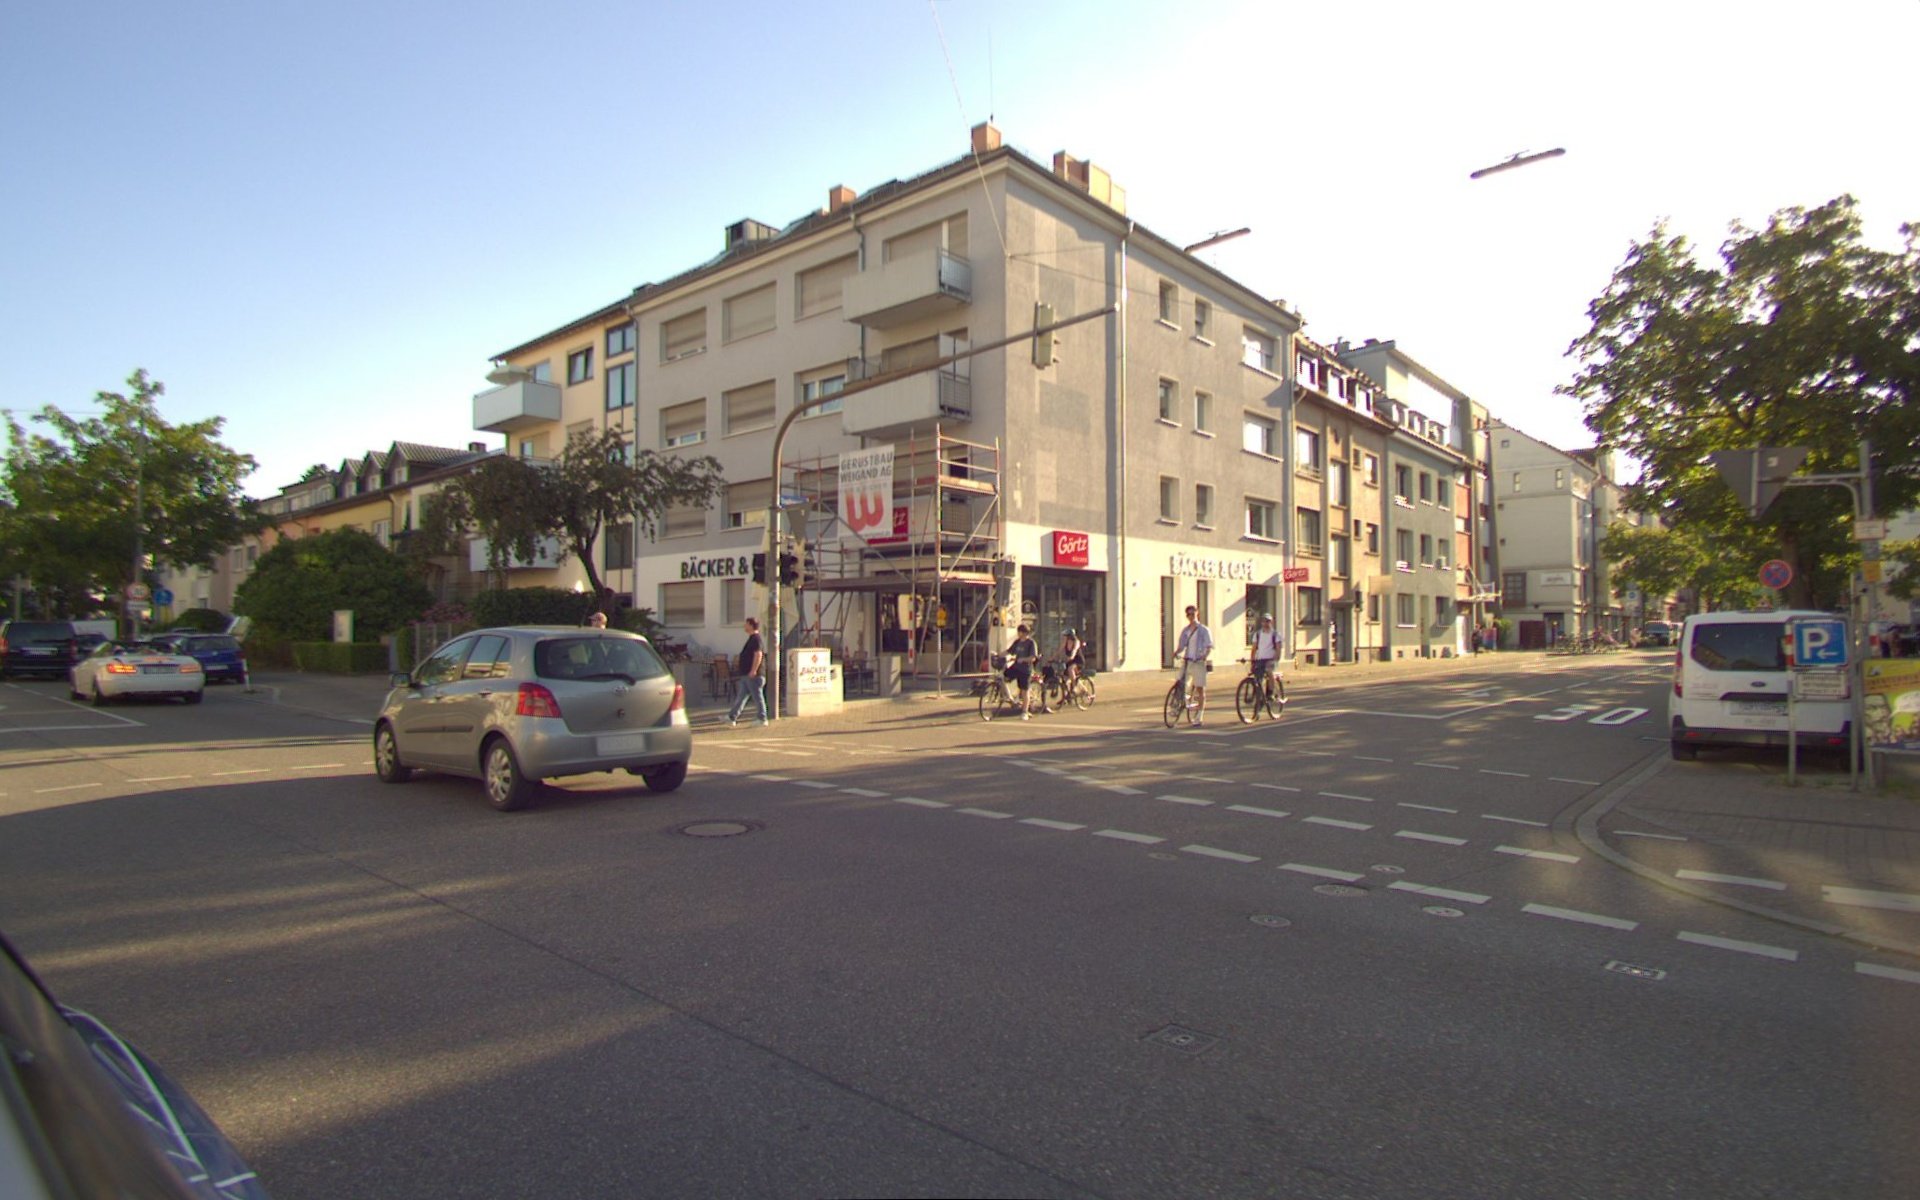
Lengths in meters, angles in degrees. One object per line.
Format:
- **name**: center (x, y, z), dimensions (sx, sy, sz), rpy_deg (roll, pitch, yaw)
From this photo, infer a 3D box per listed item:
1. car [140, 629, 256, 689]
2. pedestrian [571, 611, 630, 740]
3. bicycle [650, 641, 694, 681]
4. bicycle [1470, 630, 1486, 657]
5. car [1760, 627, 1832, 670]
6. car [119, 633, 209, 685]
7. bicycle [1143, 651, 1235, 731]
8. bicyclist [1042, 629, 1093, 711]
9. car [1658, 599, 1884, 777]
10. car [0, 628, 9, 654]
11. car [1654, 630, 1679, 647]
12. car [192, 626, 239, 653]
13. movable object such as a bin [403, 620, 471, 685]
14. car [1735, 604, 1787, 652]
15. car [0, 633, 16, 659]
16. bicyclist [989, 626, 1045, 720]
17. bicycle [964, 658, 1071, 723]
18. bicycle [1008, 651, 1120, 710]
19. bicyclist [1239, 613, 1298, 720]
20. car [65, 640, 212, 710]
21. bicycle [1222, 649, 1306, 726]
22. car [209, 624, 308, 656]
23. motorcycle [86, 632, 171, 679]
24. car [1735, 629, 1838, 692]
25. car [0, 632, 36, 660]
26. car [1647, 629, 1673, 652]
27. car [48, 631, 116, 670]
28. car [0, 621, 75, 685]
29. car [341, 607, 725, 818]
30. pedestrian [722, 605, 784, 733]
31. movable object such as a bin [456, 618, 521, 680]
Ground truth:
- **car**: center (-22.169, 1.665, 29.407), dimensions (3.947, 1.626, 1.788), rpy_deg (-2, -2, 39)
- **pedestrian**: center (-5.849, 1.206, 16.472), dimensions (0.739, 2.029, 0.631), rpy_deg (-2, -2, 42)
- **bicycle**: center (-7.593, 1.590, 26.676), dimensions (1.477, 1.022, 0.433), rpy_deg (-2, -2, 44)
- **bicycle**: center (25.947, 2.191, 50.699), dimensions (0.596, 1.309, 0.425), rpy_deg (2, 0, 39)
- **car**: center (30.667, 1.725, 37.089), dimensions (1.863, 1.475, 3.944), rpy_deg (-2, -2, 42)
- **car**: center (-25.576, 1.850, 32.474), dimensions (3.571, 1.547, 1.732), rpy_deg (-2, -2, 43)
- **bicycle**: center (3.718, 1.426, 16.349), dimensions (0.726, 1.175, 1.975), rpy_deg (-3, -3, 35)
- **bicyclist**: center (2.185, 1.420, 20.663), dimensions (0.677, 1.606, 0.752), rpy_deg (2, -1, -30)
- **car**: center (10.340, 0.980, 12.880), dimensions (1.907, 1.862, 4.426), rpy_deg (-2, -2, 41)
- **car**: center (-65.299, 2.745, 68.015), dimensions (3.658, 1.679, 1.670), rpy_deg (-2, -2, 42)
- **car**: center (56.719, 3.091, 81.231), dimensions (1.391, 1.310, 2.783), rpy_deg (-2, -2, 39)
- **car**: center (-46.430, 2.451, 63.083), dimensions (1.815, 1.626, 4.413), rpy_deg (1, -2, -44)
- **movable object such as a bin**: center (-14.603, 1.443, 28.276), dimensions (1.180, 1.670, 1.292), rpy_deg (-1, 2, 41)
- **car**: center (41.900, 1.456, 52.935), dimensions (1.863, 2.377, 3.944), rpy_deg (-2, -2, 42)
- **car**: center (-59.852, 2.846, 62.691), dimensions (3.658, 1.575, 1.670), rpy_deg (-2, -2, 42)
- **bicyclist**: center (1.044, 1.321, 18.478), dimensions (0.662, 1.666, 0.751), rpy_deg (1, -4, -39)
- **bicycle**: center (1.070, 1.622, 18.486), dimensions (1.967, 1.097, 0.729), rpy_deg (1, -3, -39)
- **bicycle**: center (2.136, 1.628, 20.636), dimensions (2.233, 1.097, 0.730), rpy_deg (2, -1, -30)
- **bicyclist**: center (5.149, 1.106, 16.912), dimensions (0.748, 1.734, 0.601), rpy_deg (-3, -3, 36)
- **car**: center (-17.822, 1.548, 21.888), dimensions (4.441, 1.330, 1.821), rpy_deg (-2, -3, 42)
- **bicycle**: center (5.060, 1.417, 16.763), dimensions (0.726, 1.166, 1.975), rpy_deg (-3, -3, 35)
- **car**: center (-37.758, 2.147, 54.613), dimensions (1.823, 1.626, 4.394), rpy_deg (-1, -2, 10)
- **motorcycle**: center (-29.069, 1.913, 35.371), dimensions (2.877, 1.547, 1.251), rpy_deg (-1, -2, 28)
- **car**: center (21.348, 1.491, 26.094), dimensions (1.863, 1.475, 3.944), rpy_deg (-2, -2, 42)
- **car**: center (-55.177, 2.676, 58.941), dimensions (3.658, 1.575, 1.620), rpy_deg (-2, -2, 42)
- **car**: center (54.456, 3.109, 78.694), dimensions (1.391, 1.754, 2.783), rpy_deg (-2, -2, 39)
- **car**: center (-38.021, 2.147, 43.791), dimensions (4.196, 1.626, 1.711), rpy_deg (-2, -2, 42)
- **car**: center (-29.414, 1.623, 31.788), dimensions (4.407, 1.891, 1.818), rpy_deg (-2, -2, 41)
- **car**: center (-4.157, 0.916, 9.563), dimensions (3.999, 1.569, 1.785), rpy_deg (-2, -4, 42)
- **pedestrian**: center (-3.383, 1.090, 16.546), dimensions (0.814, 2.029, 0.637), rpy_deg (-1, -1, 42)
- **movable object such as a bin**: center (-13.605, 1.383, 29.216), dimensions (1.180, 1.670, 1.292), rpy_deg (-1, 2, 41)
